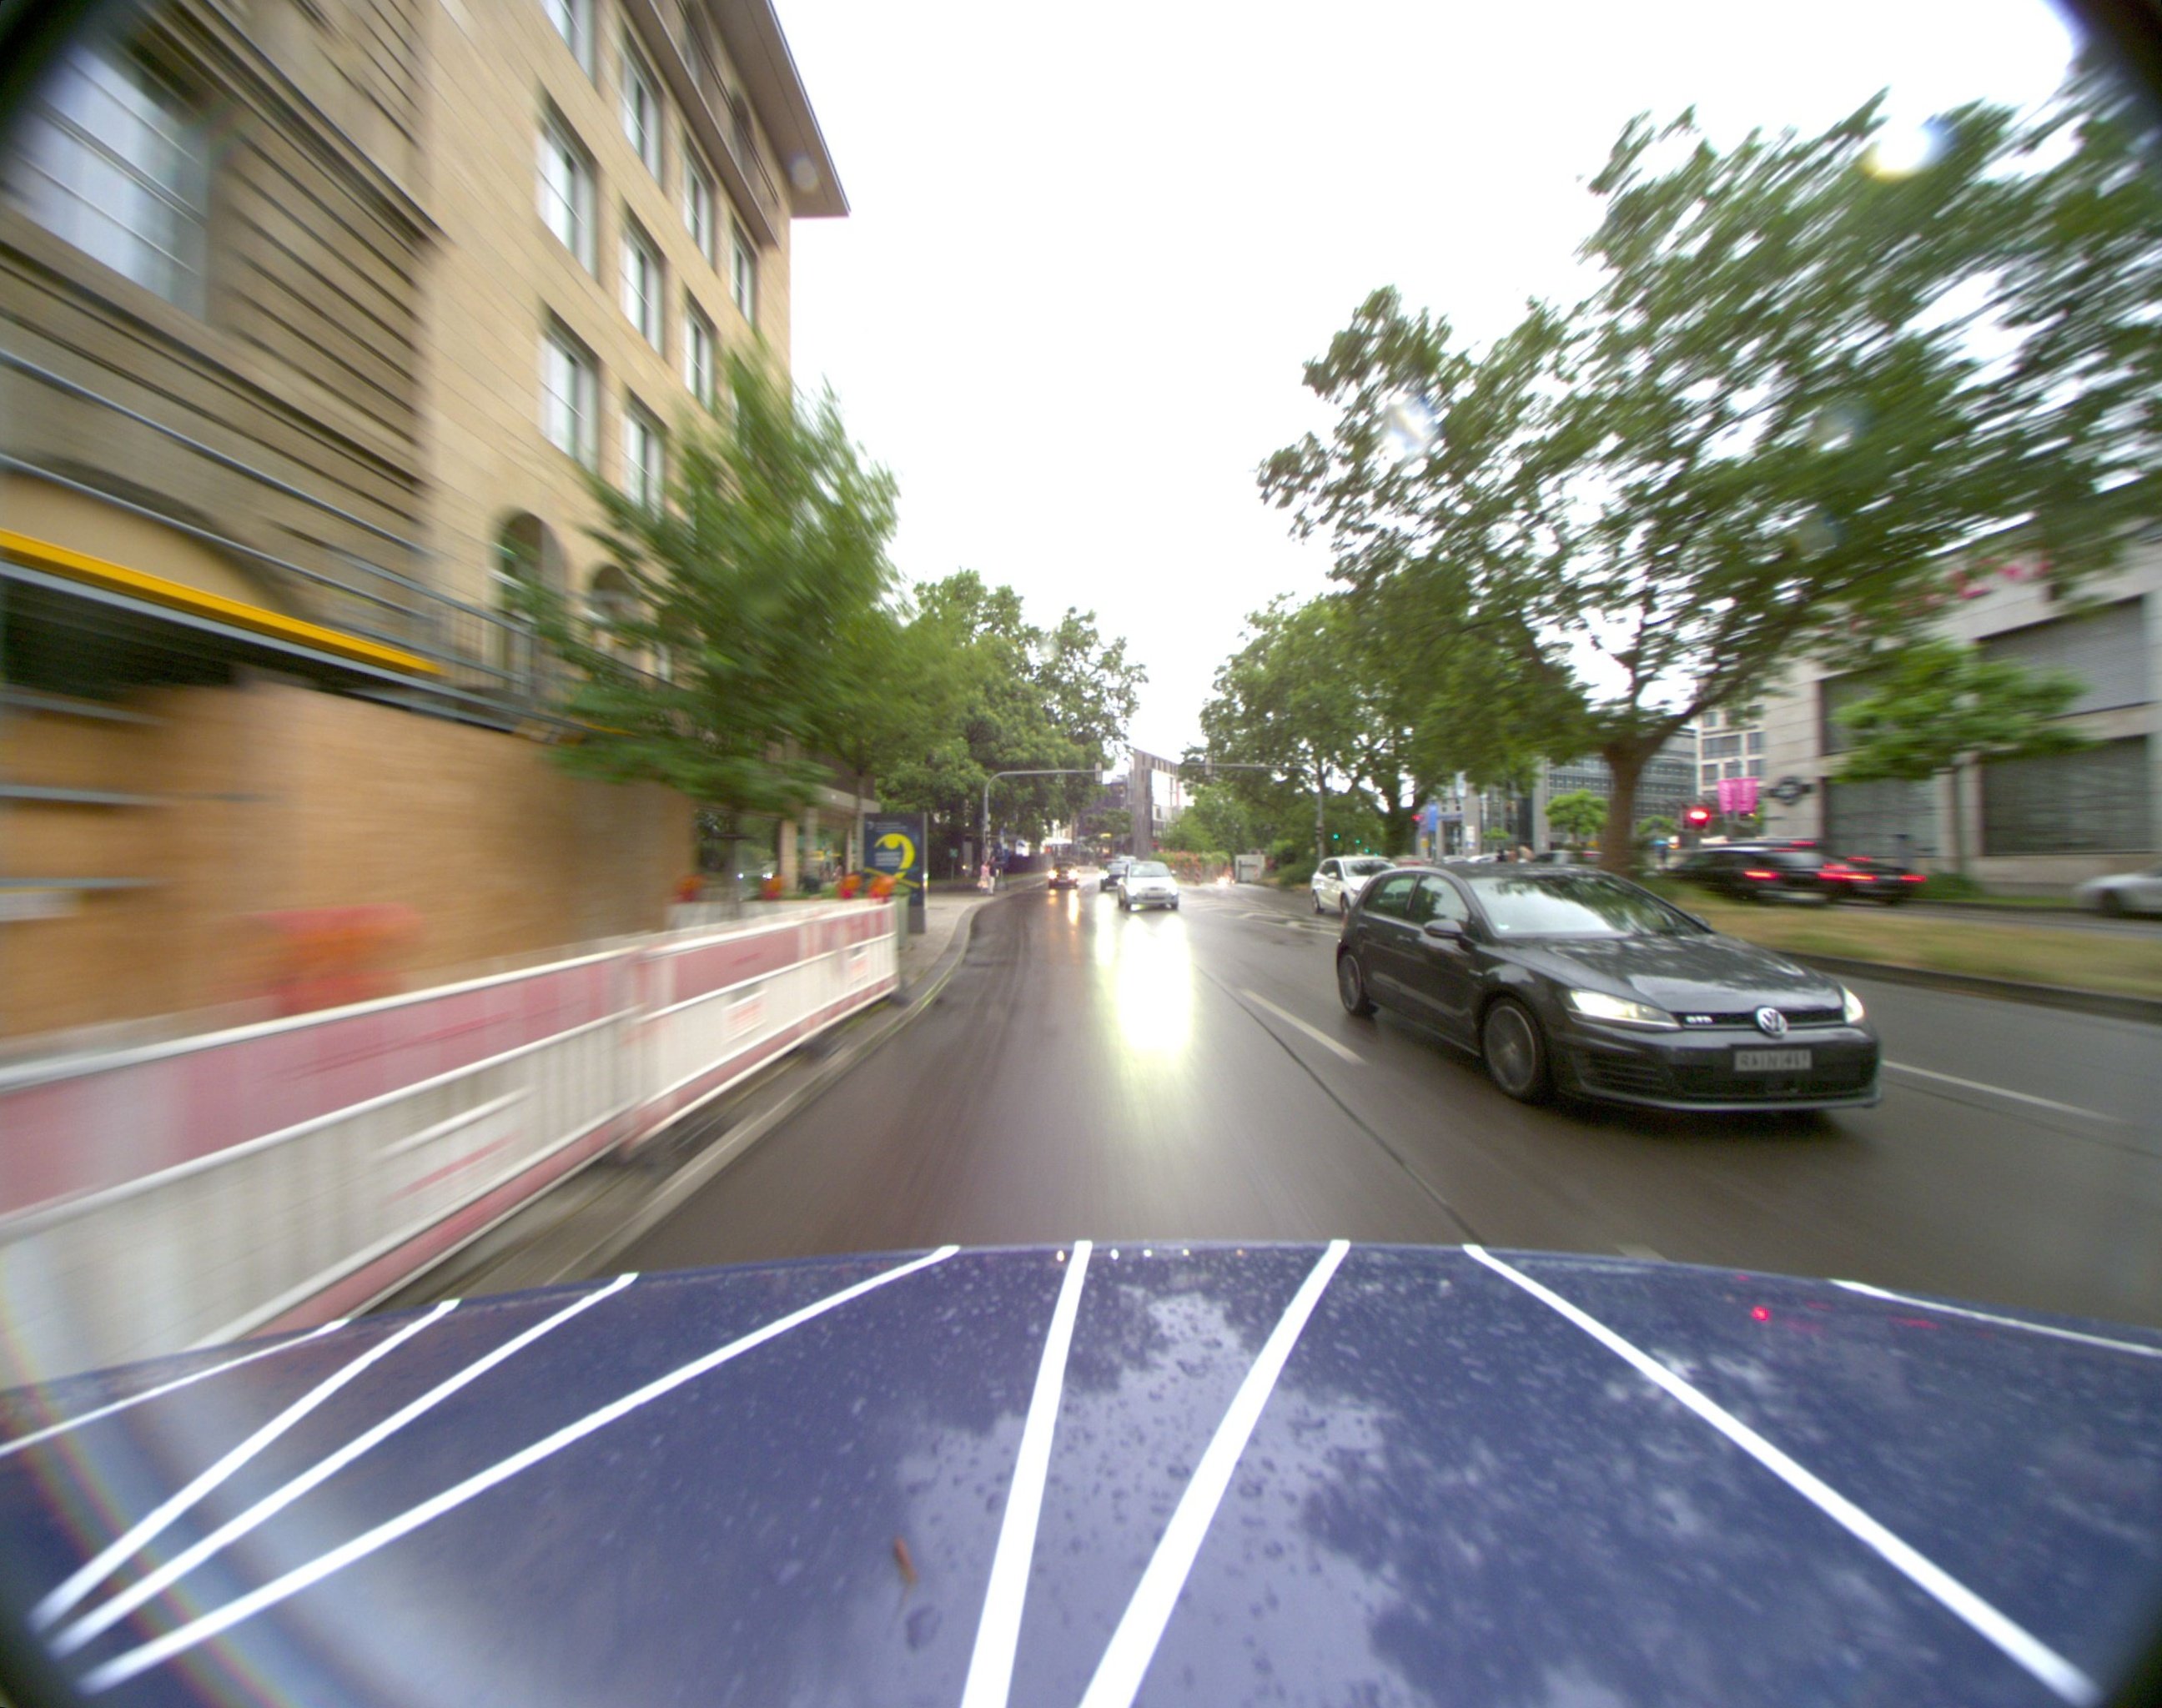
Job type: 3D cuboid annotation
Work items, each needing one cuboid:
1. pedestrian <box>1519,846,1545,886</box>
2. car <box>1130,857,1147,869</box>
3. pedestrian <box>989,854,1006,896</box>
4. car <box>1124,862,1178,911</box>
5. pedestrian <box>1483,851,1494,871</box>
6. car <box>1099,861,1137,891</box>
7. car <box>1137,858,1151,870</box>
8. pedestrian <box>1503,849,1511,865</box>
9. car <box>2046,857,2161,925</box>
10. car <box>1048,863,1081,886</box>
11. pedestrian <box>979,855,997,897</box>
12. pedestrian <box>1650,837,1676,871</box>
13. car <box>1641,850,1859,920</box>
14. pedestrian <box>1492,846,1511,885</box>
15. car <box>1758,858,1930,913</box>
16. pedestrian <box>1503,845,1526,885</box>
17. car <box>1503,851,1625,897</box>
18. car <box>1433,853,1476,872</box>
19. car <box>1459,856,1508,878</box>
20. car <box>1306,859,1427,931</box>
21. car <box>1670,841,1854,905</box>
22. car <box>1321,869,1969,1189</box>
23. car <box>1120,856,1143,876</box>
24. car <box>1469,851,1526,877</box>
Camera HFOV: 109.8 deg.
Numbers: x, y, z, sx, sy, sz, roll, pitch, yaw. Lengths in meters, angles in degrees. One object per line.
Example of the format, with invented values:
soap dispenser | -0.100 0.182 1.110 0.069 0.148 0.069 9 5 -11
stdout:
pedestrian | 18.148 0.486 30.558 0.611 1.604 0.640 -1 0 -29
car | 8.330 1.321 109.870 1.997 1.733 3.913 -1 0 10
pedestrian | -3.679 0.930 33.590 0.634 1.824 0.563 0 1 6
car | 2.279 1.026 25.218 1.611 1.432 3.495 -3 0 4
pedestrian | 36.100 0.603 67.313 0.747 1.779 0.424 -2 0 34
car | 1.918 1.067 38.651 1.715 1.432 3.496 1 0 7
car | 9.970 1.568 120.283 1.997 1.733 3.912 -1 0 9
pedestrian | 43.019 0.304 76.744 0.577 1.617 0.564 -1 0 41
car | 23.691 0.798 15.929 1.750 1.407 4.295 0 1 7
car | -0.900 1.144 43.539 1.716 1.274 3.494 0 0 1
pedestrian | -4.023 0.939 32.830 0.592 1.824 0.628 -1 1 -25
pedestrian | 34.005 0.014 44.385 0.589 1.913 1.125 -2 0 2
car | 14.699 0.606 17.038 1.750 1.357 3.945 0 1 7
pedestrian | 17.605 0.489 31.815 0.425 1.604 0.554 -1 0 -17
car | 21.867 0.843 21.977 1.755 1.455 3.485 -1 0 8
pedestrian | 17.749 0.465 31.131 0.449 1.604 0.640 -1 0 -28
car | 15.653 0.582 24.887 1.750 1.357 4.133 0 1 7
car | 31.671 0.676 64.487 2.010 1.525 4.714 0 1 10
car | 30.600 0.945 57.873 2.010 1.525 4.439 0 1 10
car | 7.161 0.952 19.490 1.781 1.587 4.001 -1 1 3
car | 18.977 0.467 21.455 1.834 1.630 4.093 0 1 6
car | 3.368 0.879 5.712 1.789 1.444 4.123 -1 0 0
car | 4.545 1.039 68.665 1.998 1.733 3.911 -1 0 3
car | 28.968 0.661 52.999 1.997 1.642 4.730 0 1 9
